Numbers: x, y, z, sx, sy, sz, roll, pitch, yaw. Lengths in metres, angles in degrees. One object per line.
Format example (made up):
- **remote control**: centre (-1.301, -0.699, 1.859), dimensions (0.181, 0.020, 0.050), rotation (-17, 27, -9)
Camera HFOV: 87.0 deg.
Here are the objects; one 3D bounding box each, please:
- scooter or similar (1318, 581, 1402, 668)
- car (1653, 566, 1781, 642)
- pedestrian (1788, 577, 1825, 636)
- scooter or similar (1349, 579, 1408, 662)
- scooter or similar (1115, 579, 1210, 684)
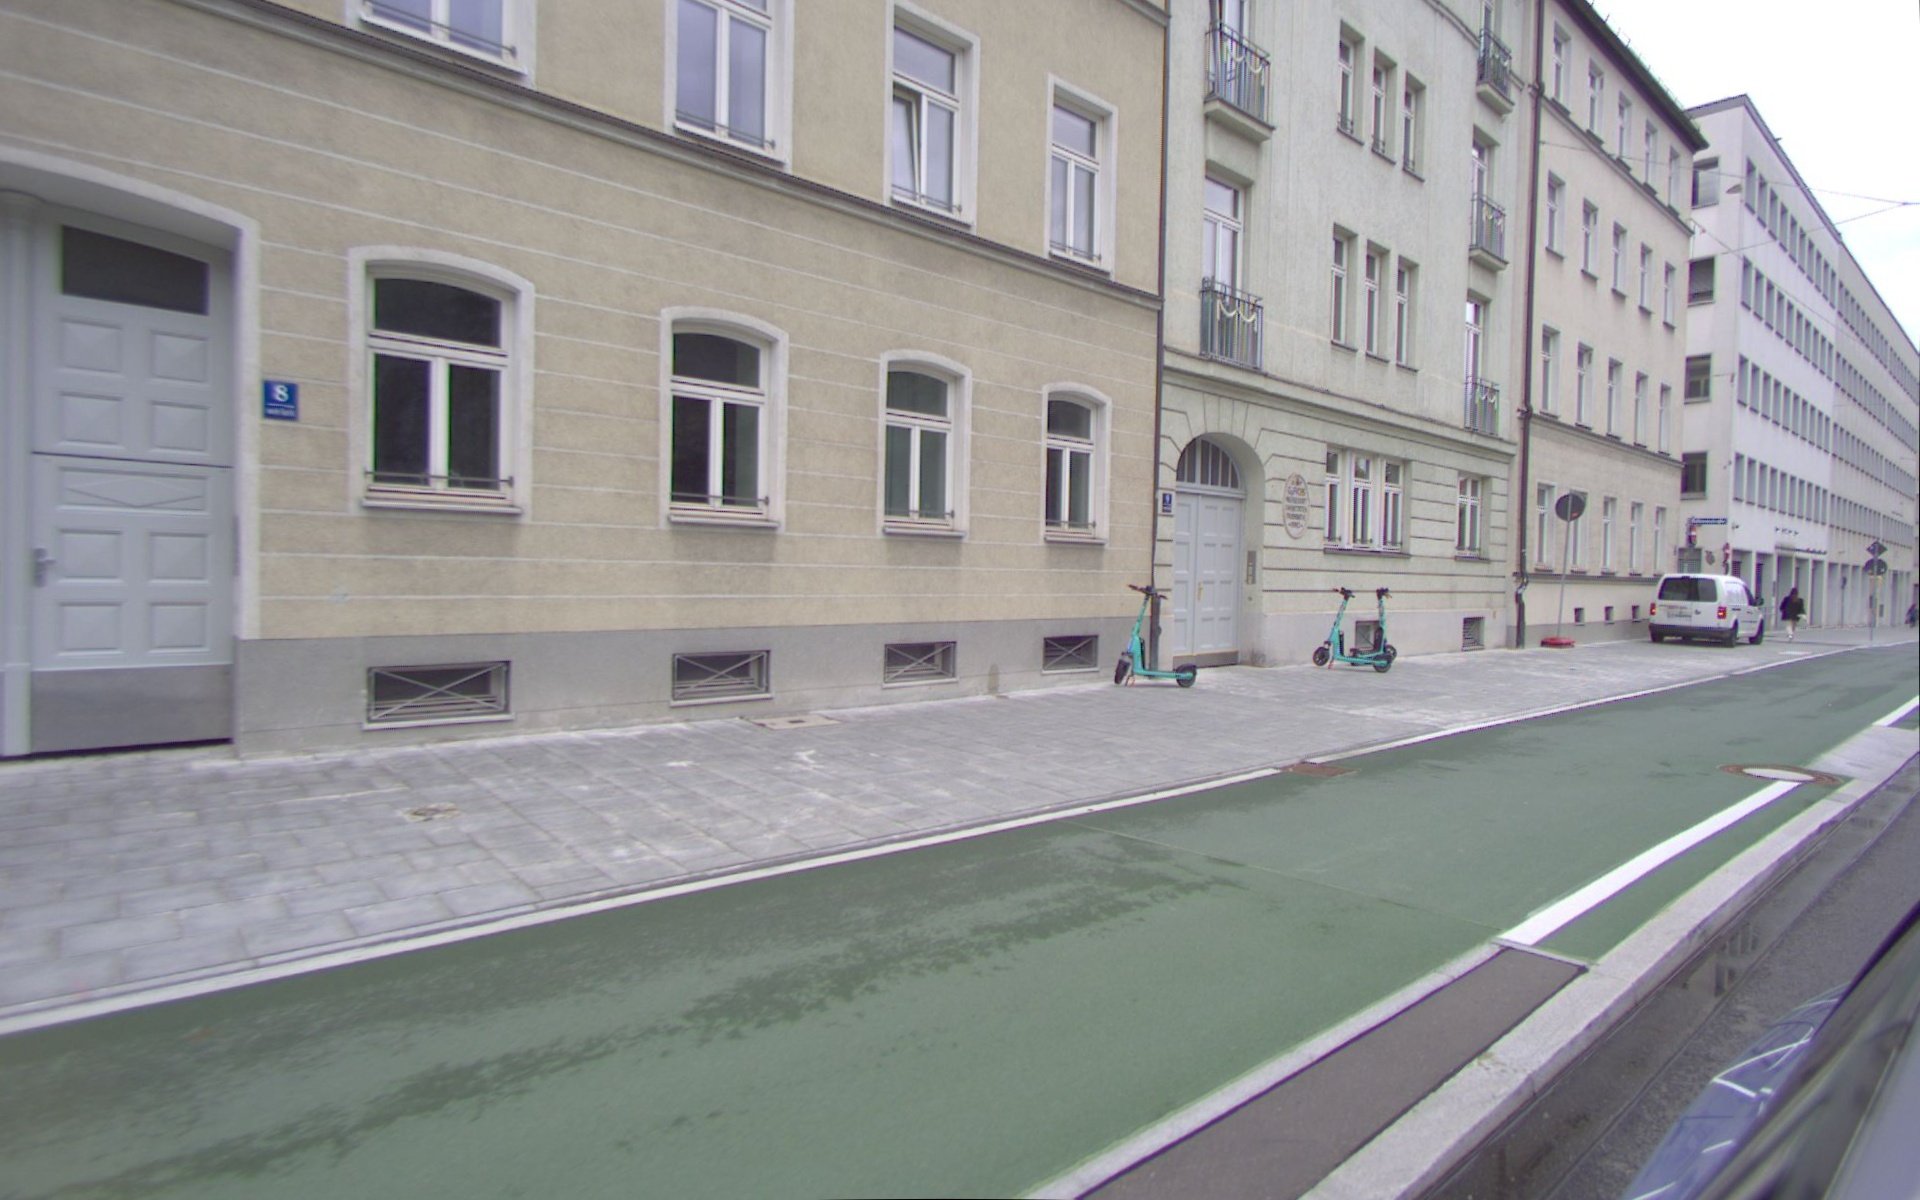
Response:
- **scooter or similar**: centre (6.069, 0.357, 15.389), dimensions (1.104, 1.246, 0.246), rotation (3, 3, 16)
- **car**: centre (19.766, 0.065, 26.364), dimensions (4.358, 1.771, 1.737), rotation (0, 3, -41)
- **pedestrian**: centre (24.444, 0.185, 29.233), dimensions (0.724, 1.656, 0.666), rotation (0, 2, -41)
- **scooter or similar**: centre (6.776, 0.307, 16.380), dimensions (1.100, 1.288, 0.387), rotation (-1, 4, -42)
- **scooter or similar**: centre (2.472, 0.388, 12.365), dimensions (1.096, 1.246, 0.248), rotation (1, 3, -15)
